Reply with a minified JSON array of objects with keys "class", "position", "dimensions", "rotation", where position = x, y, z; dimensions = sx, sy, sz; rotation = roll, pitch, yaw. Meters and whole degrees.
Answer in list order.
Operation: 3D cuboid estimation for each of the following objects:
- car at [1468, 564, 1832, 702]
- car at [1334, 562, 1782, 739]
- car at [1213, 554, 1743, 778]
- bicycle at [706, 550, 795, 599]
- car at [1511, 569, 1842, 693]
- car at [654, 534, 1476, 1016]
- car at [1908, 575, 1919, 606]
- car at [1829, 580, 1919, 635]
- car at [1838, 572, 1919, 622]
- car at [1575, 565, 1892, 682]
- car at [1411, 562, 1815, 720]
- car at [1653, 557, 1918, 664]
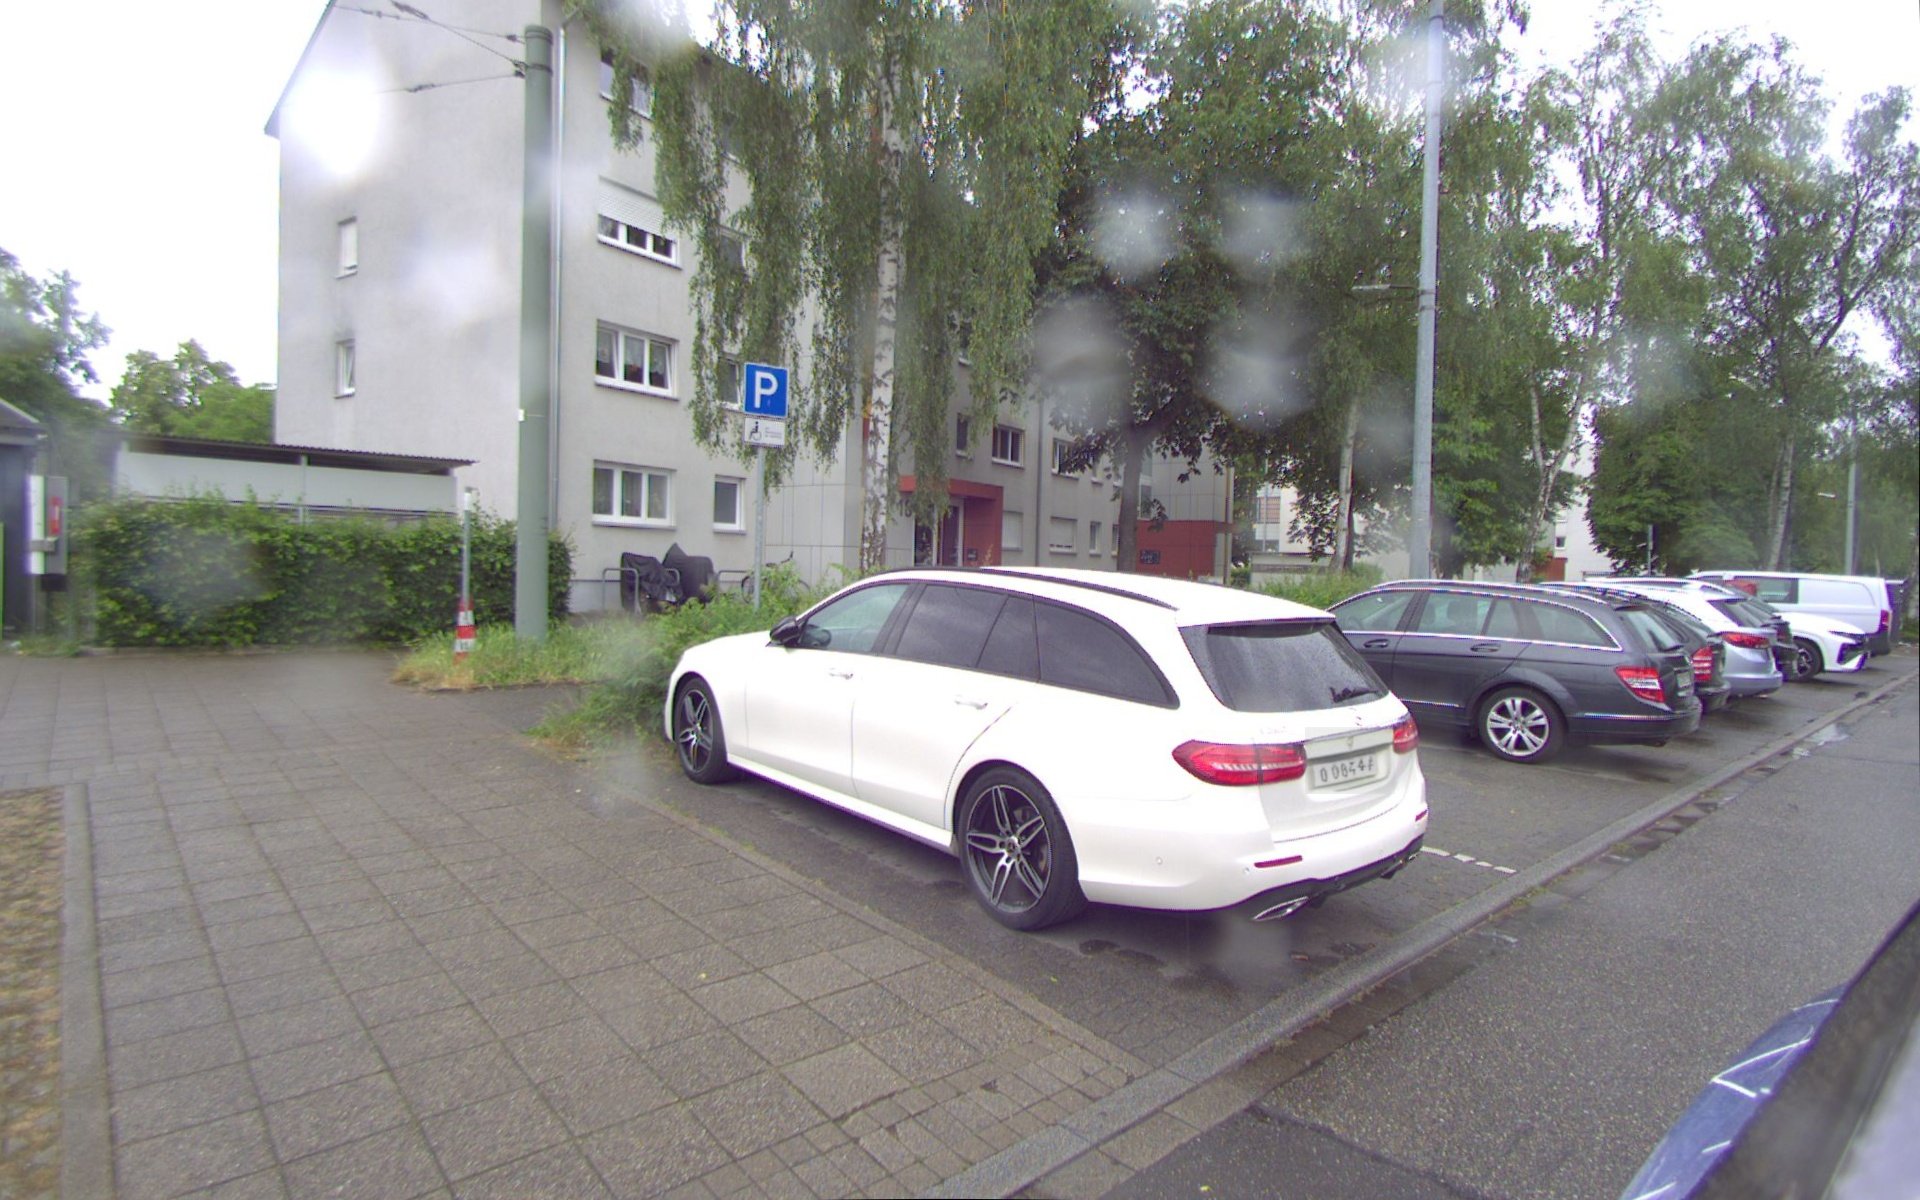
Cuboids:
[{"class":"car","position":[9.844,0.349,14.673],"dimensions":[1.653,1.514,4.044],"rotation":[-1,5,-43]},{"class":"car","position":[6.595,0.406,11.510],"dimensions":[1.653,1.456,4.044],"rotation":[-1,5,-43]},{"class":"car","position":[4.600,0.410,9.459],"dimensions":[1.653,1.456,4.044],"rotation":[-1,5,-43]},{"class":"bicycle","position":[-4.524,-0.538,21.970],"dimensions":[0.701,1.005,1.918],"rotation":[0,0,37]},{"class":"car","position":[11.400,0.385,16.313],"dimensions":[1.653,1.514,4.044],"rotation":[-1,5,-43]},{"class":"car","position":[0.082,0.462,5.612],"dimensions":[1.651,1.456,4.622],"rotation":[-1,5,-41]},{"class":"car","position":[53.240,-0.510,53.747],"dimensions":[1.866,1.701,3.998],"rotation":[-1,1,-36]},{"class":"car","position":[34.430,0.252,36.802],"dimensions":[1.866,1.937,3.998],"rotation":[-1,0,-36]},{"class":"car","position":[37.744,-0.136,40.239],"dimensions":[1.866,1.937,3.998],"rotation":[-1,0,-36]},{"class":"car","position":[13.711,0.310,18.159],"dimensions":[1.651,1.637,4.181],"rotation":[0,5,-40]},{"class":"car","position":[8.226,0.377,13.042],"dimensions":[1.653,1.514,4.044],"rotation":[-1,5,-43]},{"class":"car","position":[17.536,0.128,21.662],"dimensions":[4.172,1.888,1.654],"rotation":[6,5,44]}]
